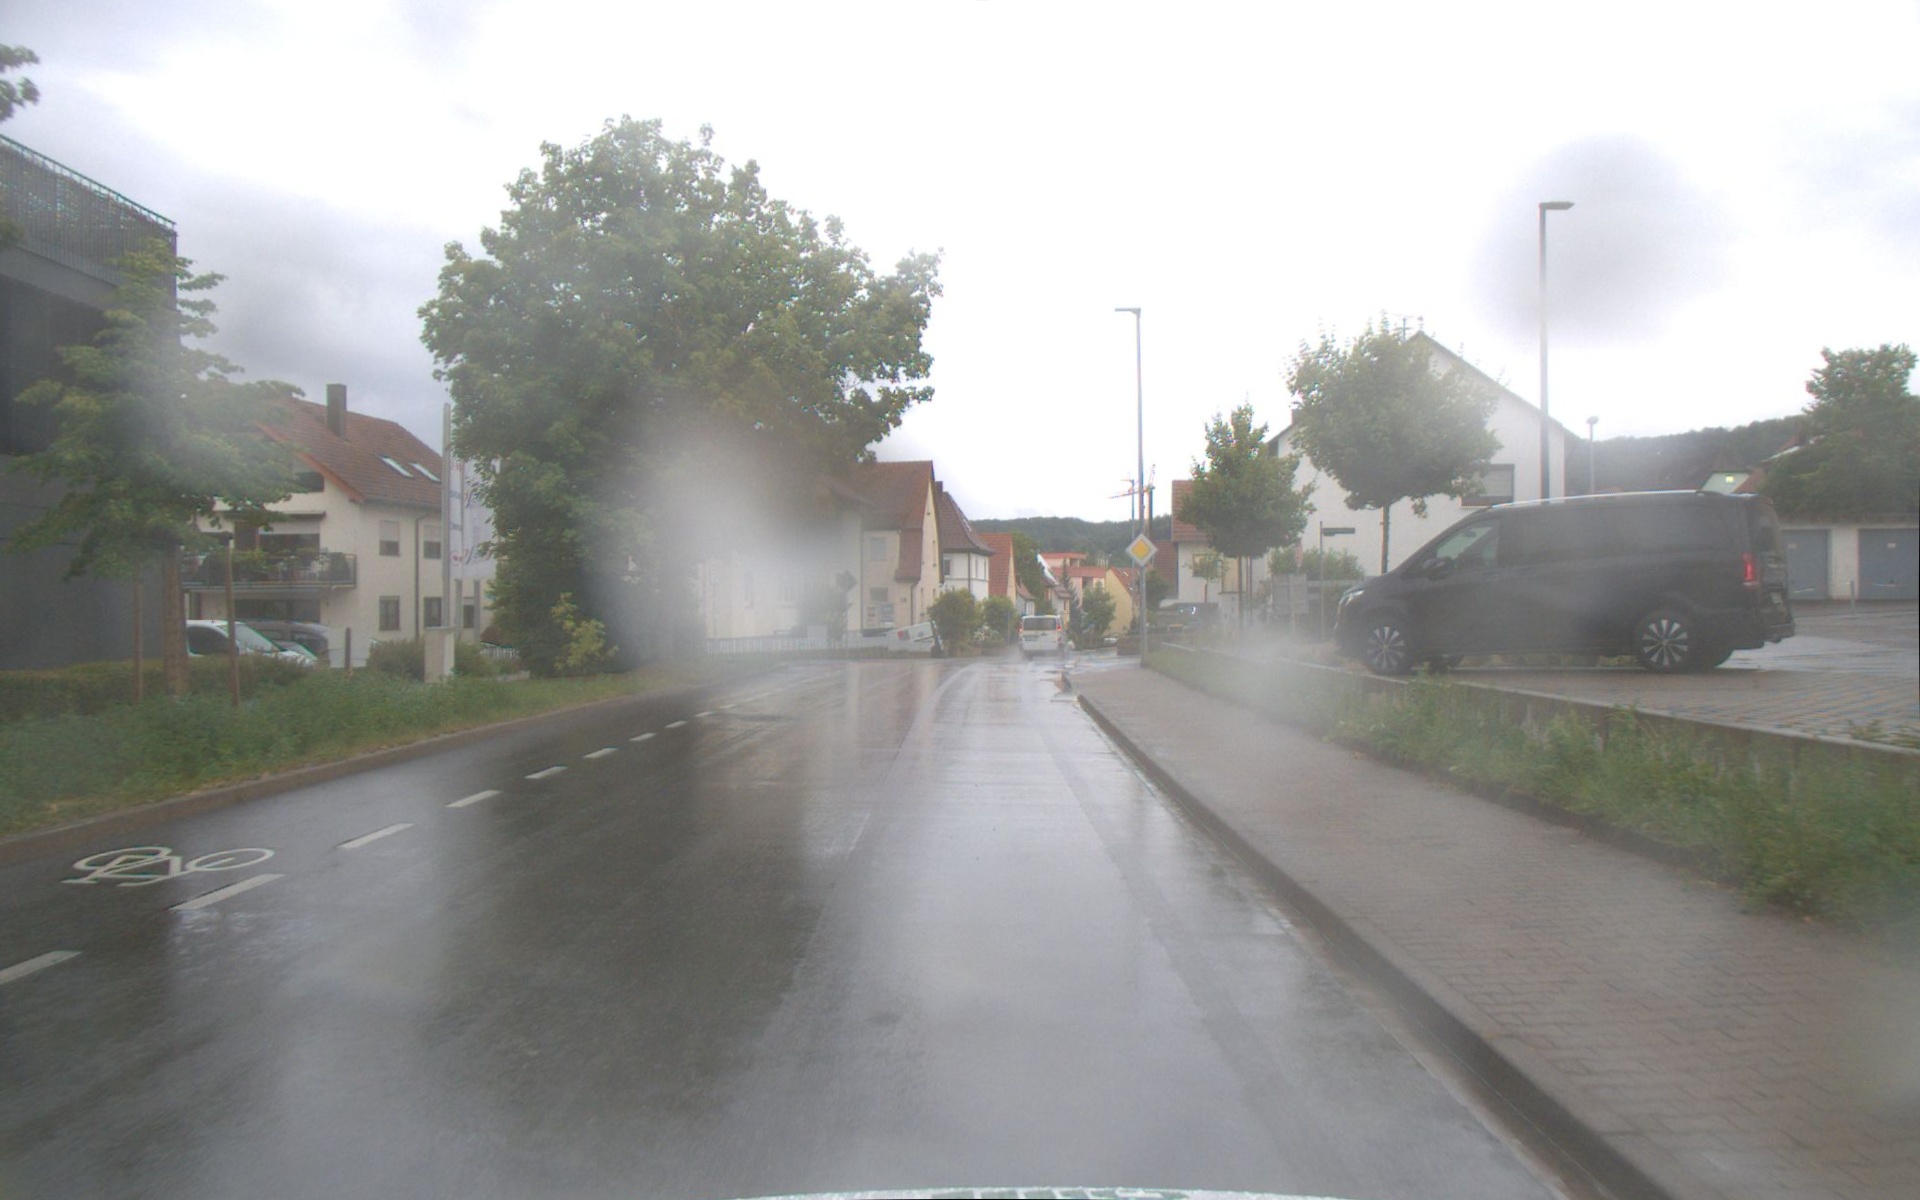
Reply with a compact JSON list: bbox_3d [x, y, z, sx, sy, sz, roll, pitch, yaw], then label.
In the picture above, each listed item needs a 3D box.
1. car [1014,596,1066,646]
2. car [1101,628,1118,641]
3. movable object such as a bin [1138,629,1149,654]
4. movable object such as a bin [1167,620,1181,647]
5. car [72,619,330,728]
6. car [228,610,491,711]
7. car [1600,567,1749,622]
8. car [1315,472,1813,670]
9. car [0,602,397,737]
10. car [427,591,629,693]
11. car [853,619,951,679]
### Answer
[{"bbox_3d":[3.364,0.842,69.263,2.073,1.921,4.504,1,1,3],"label":"car"},{"bbox_3d":[20.514,4.671,226.255,1.802,1.606,4.293,1,1,12],"label":"car"},{"bbox_3d":[7.386,1.674,66.485,0.416,0.957,0.508,1,1,5],"label":"movable object such as a bin"},{"bbox_3d":[8.607,1.348,66.425,0.517,1.046,0.632,1,1,5],"label":"movable object such as a bin"},{"bbox_3d":[-15.566,1.490,34.134,4.308,2.048,2.153,1,1,-2],"label":"car"},{"bbox_3d":[-7.720,0.767,21.425,2.848,1.179,1.471,-2,-1,0],"label":"car"},{"bbox_3d":[21.180,-0.150,49.140,3.688,1.480,1.609,-2,-1,4],"label":"car"},{"bbox_3d":[6.913,-0.237,19.225,5.015,1.953,2.045,-3,-1,37],"label":"car"},{"bbox_3d":[-8.371,0.738,18.122,3.820,1.306,1.582,-2,-1,0],"label":"car"},{"bbox_3d":[-6.804,0.678,26.201,2.848,1.481,1.253,-2,-3,0],"label":"car"},{"bbox_3d":[-2.934,2.482,84.582,4.466,2.044,2.161,-12,-1,6],"label":"car"}]
